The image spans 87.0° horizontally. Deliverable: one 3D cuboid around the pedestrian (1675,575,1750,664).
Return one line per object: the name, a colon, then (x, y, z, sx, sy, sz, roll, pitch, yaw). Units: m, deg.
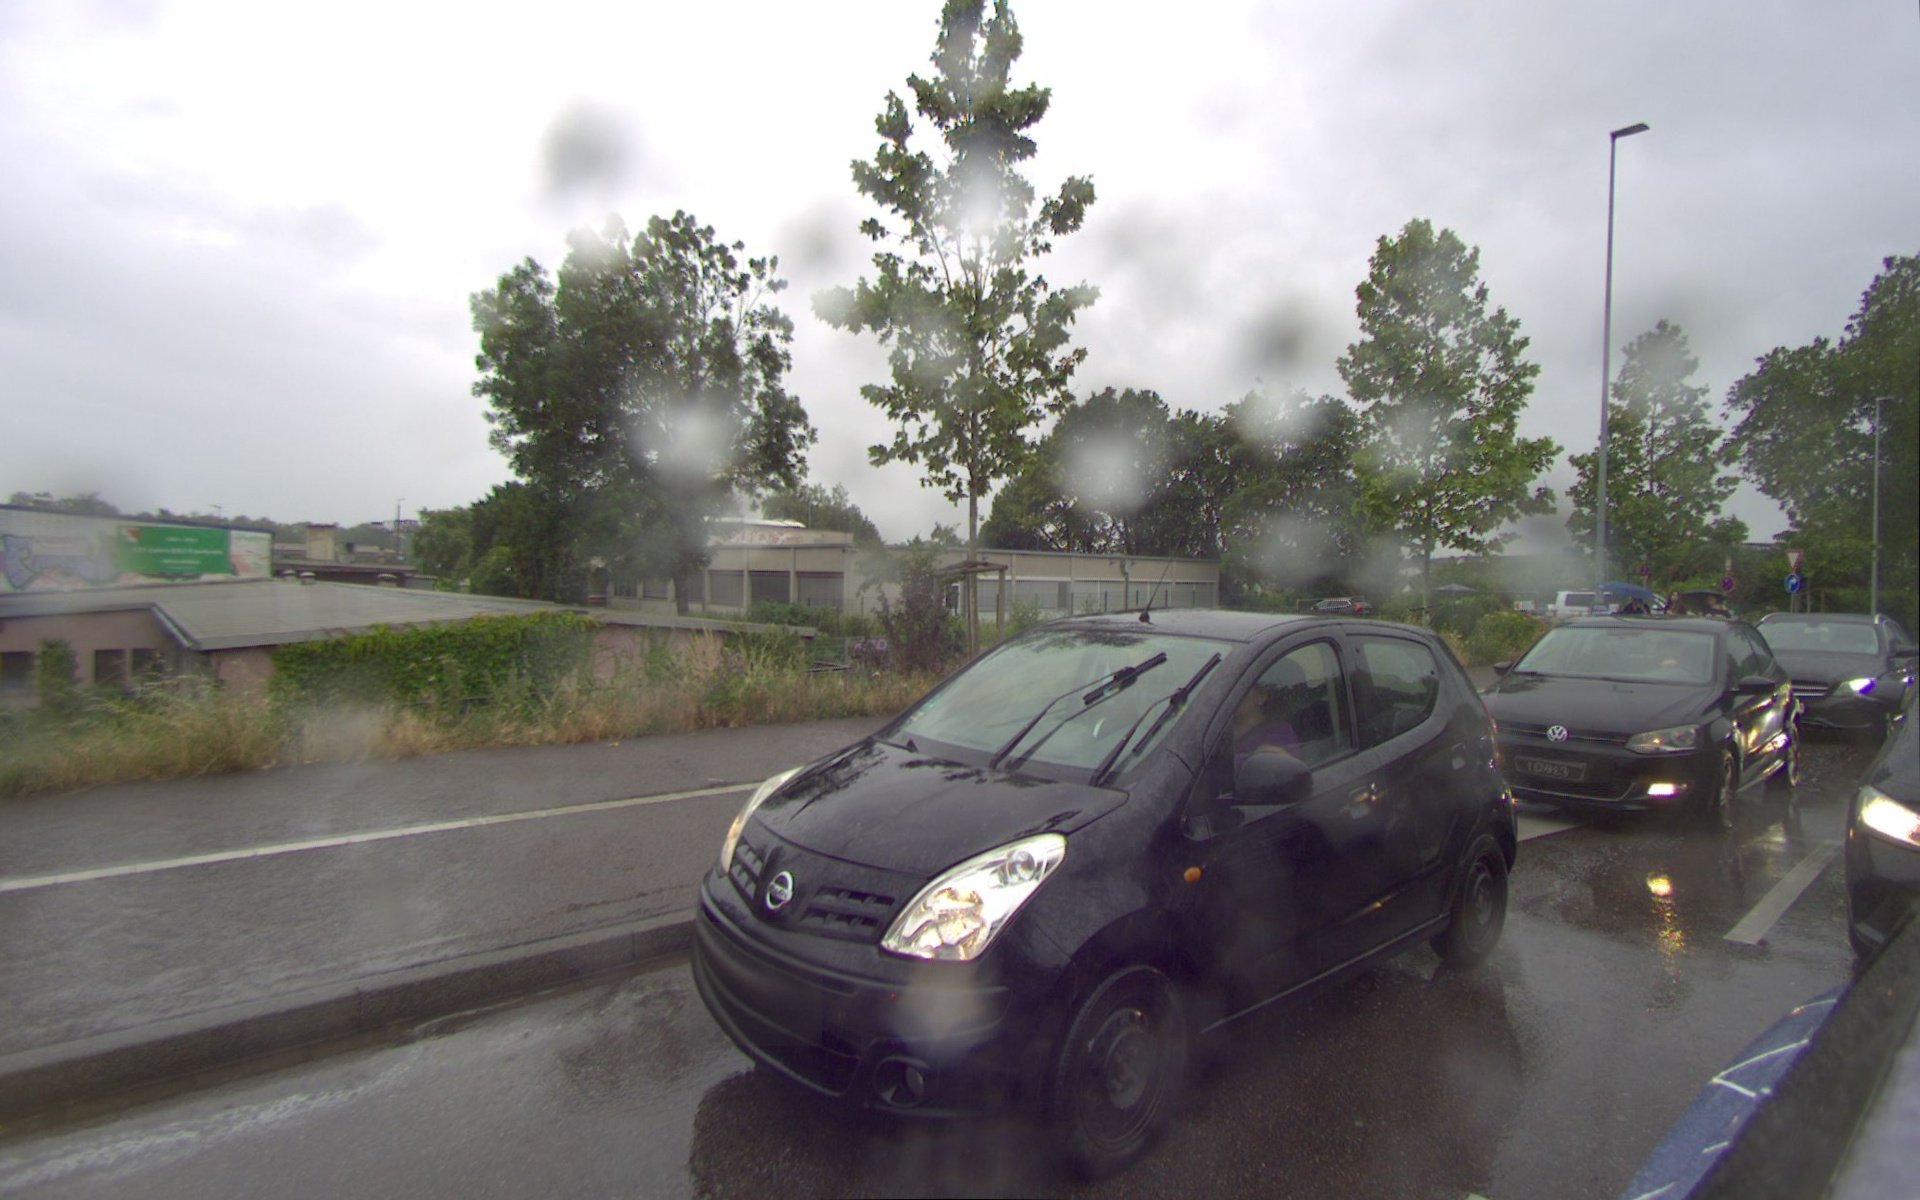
pedestrian: (15.532, 0.379, 20.895, 0.876, 1.729, 1.024, 0, 3, -41)

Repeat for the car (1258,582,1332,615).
car: (21.002, -0.110, 63.476, 1.964, 2.039, 3.996, 0, 0, -38)

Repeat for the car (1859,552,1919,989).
car: (5.503, 0.607, 4.536, 4.091, 1.607, 1.688, -1, 0, -41)

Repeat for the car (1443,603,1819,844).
car: (5.367, 0.757, 7.935, 3.561, 1.447, 1.631, 0, 0, -42)

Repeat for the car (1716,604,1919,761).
car: (10.889, 0.874, 12.531, 3.747, 1.594, 1.697, -1, 0, -41)

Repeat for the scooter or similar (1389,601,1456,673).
scooter or similar: (7.904, 0.611, 17.247, 1.747, 1.144, 0.380, -1, 2, -43)

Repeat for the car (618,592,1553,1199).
car: (0.750, 0.713, 3.876, 3.561, 1.447, 1.631, 0, 0, -42)

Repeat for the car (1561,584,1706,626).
car: (28.129, 0.172, 42.399, 1.966, 1.670, 4.752, -1, 1, -42)

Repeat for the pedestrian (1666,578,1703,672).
pedestrian: (13.252, 0.439, 18.511, 0.433, 1.682, 0.400, 0, 3, -42)

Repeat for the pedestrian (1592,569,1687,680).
pedestrian: (11.502, 0.378, 17.136, 0.953, 1.777, 1.081, 0, 3, -42)
